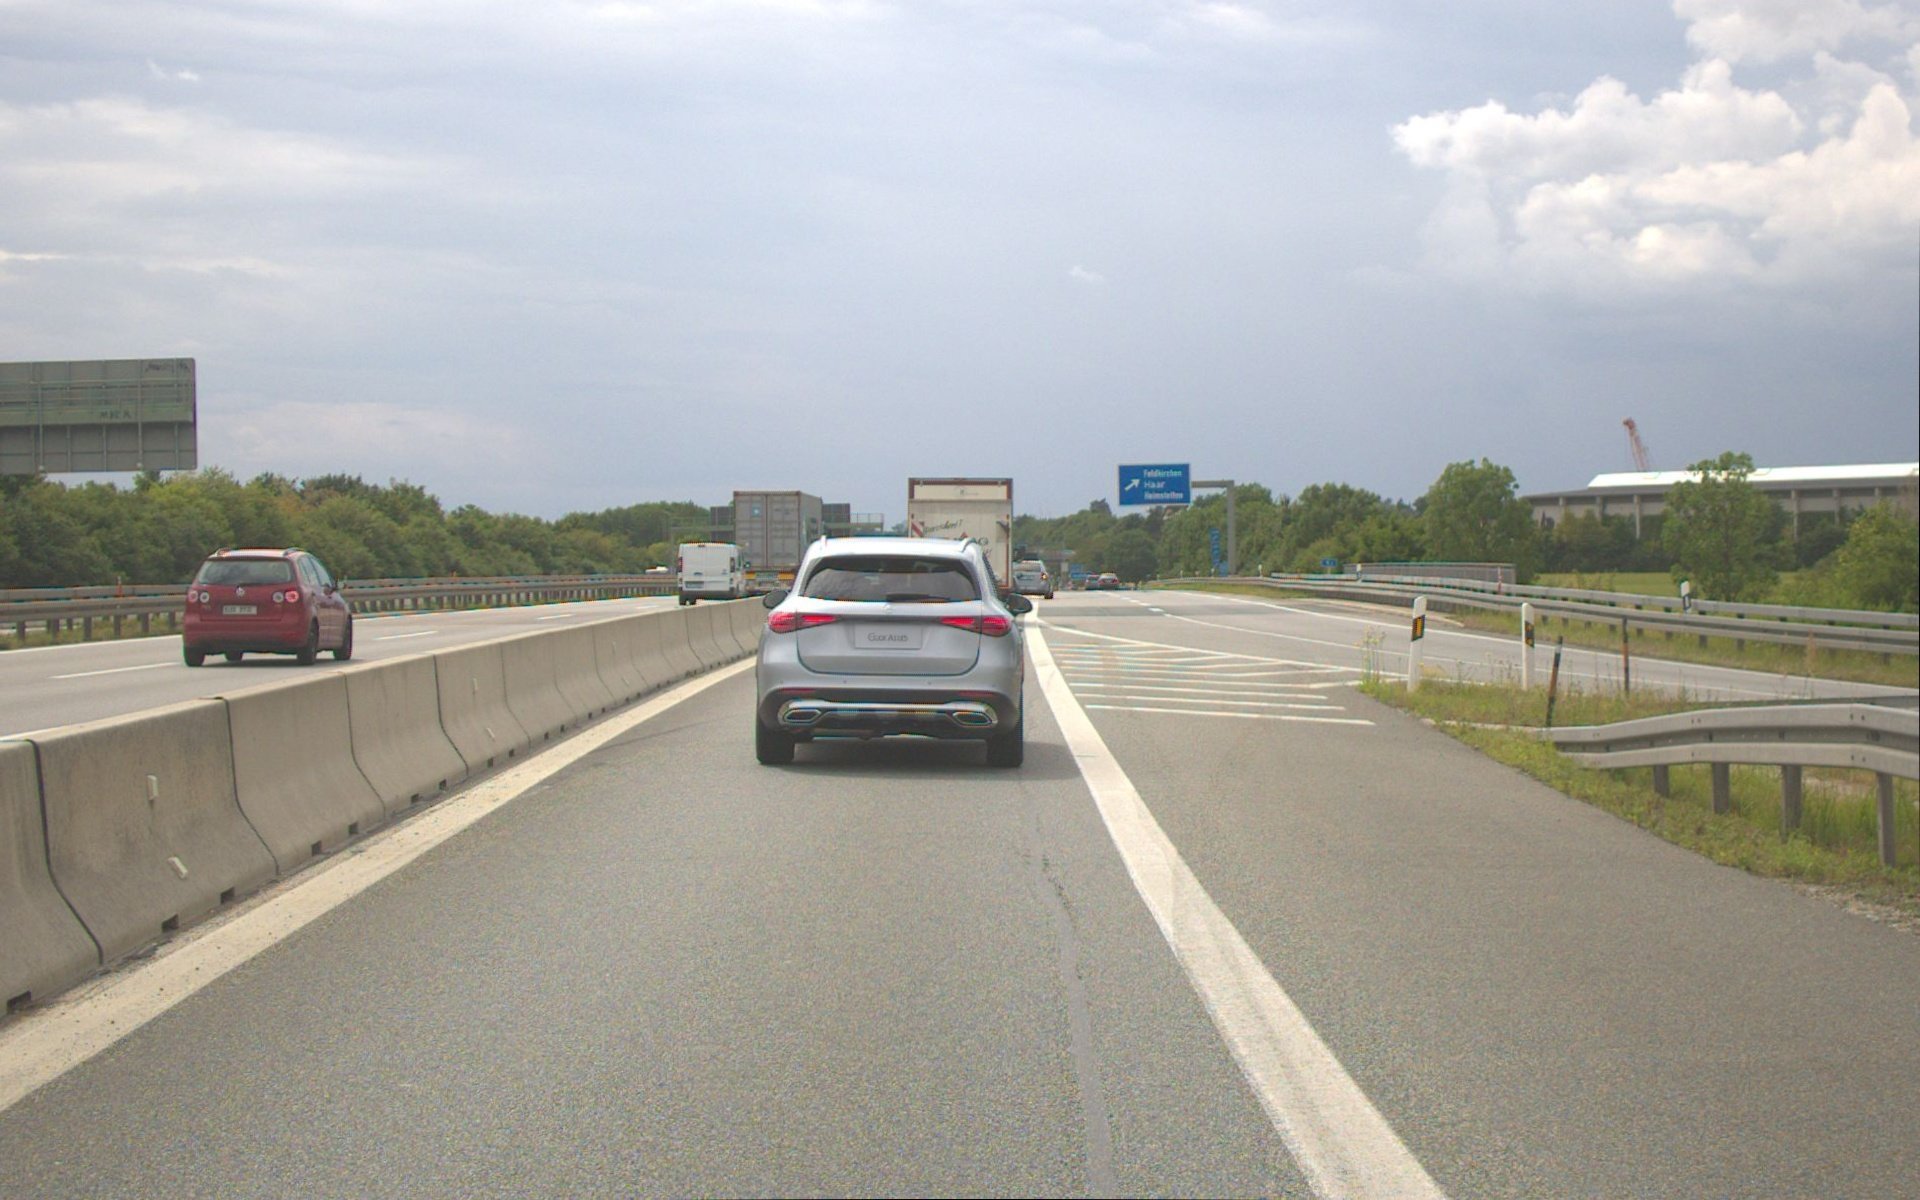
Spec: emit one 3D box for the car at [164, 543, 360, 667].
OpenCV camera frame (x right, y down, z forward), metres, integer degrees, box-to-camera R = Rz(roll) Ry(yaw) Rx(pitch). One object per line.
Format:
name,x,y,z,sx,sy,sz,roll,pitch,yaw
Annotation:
car,-9.577,0.031,47.469,1.819,1.540,4.355,1,2,0

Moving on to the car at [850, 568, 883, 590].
car,-5.547,-1.247,203.676,1.696,1.284,4.000,0,1,2

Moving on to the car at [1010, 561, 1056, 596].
car,2.806,-0.846,130.961,1.696,1.284,4.000,0,1,2

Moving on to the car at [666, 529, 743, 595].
car,-8.174,-1.243,110.244,1.993,2.006,4.374,1,2,2

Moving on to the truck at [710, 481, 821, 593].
truck,-7.329,-2.534,132.001,3.183,4.005,16.076,1,2,1

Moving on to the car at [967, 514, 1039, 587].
car,1.264,-1.441,99.326,1.993,2.006,4.000,1,2,2

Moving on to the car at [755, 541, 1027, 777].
car,-0.484,0.366,25.216,1.819,1.509,4.001,1,2,0

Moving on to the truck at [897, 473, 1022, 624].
truck,-0.031,-1.126,76.198,2.569,3.115,8.635,1,1,0
